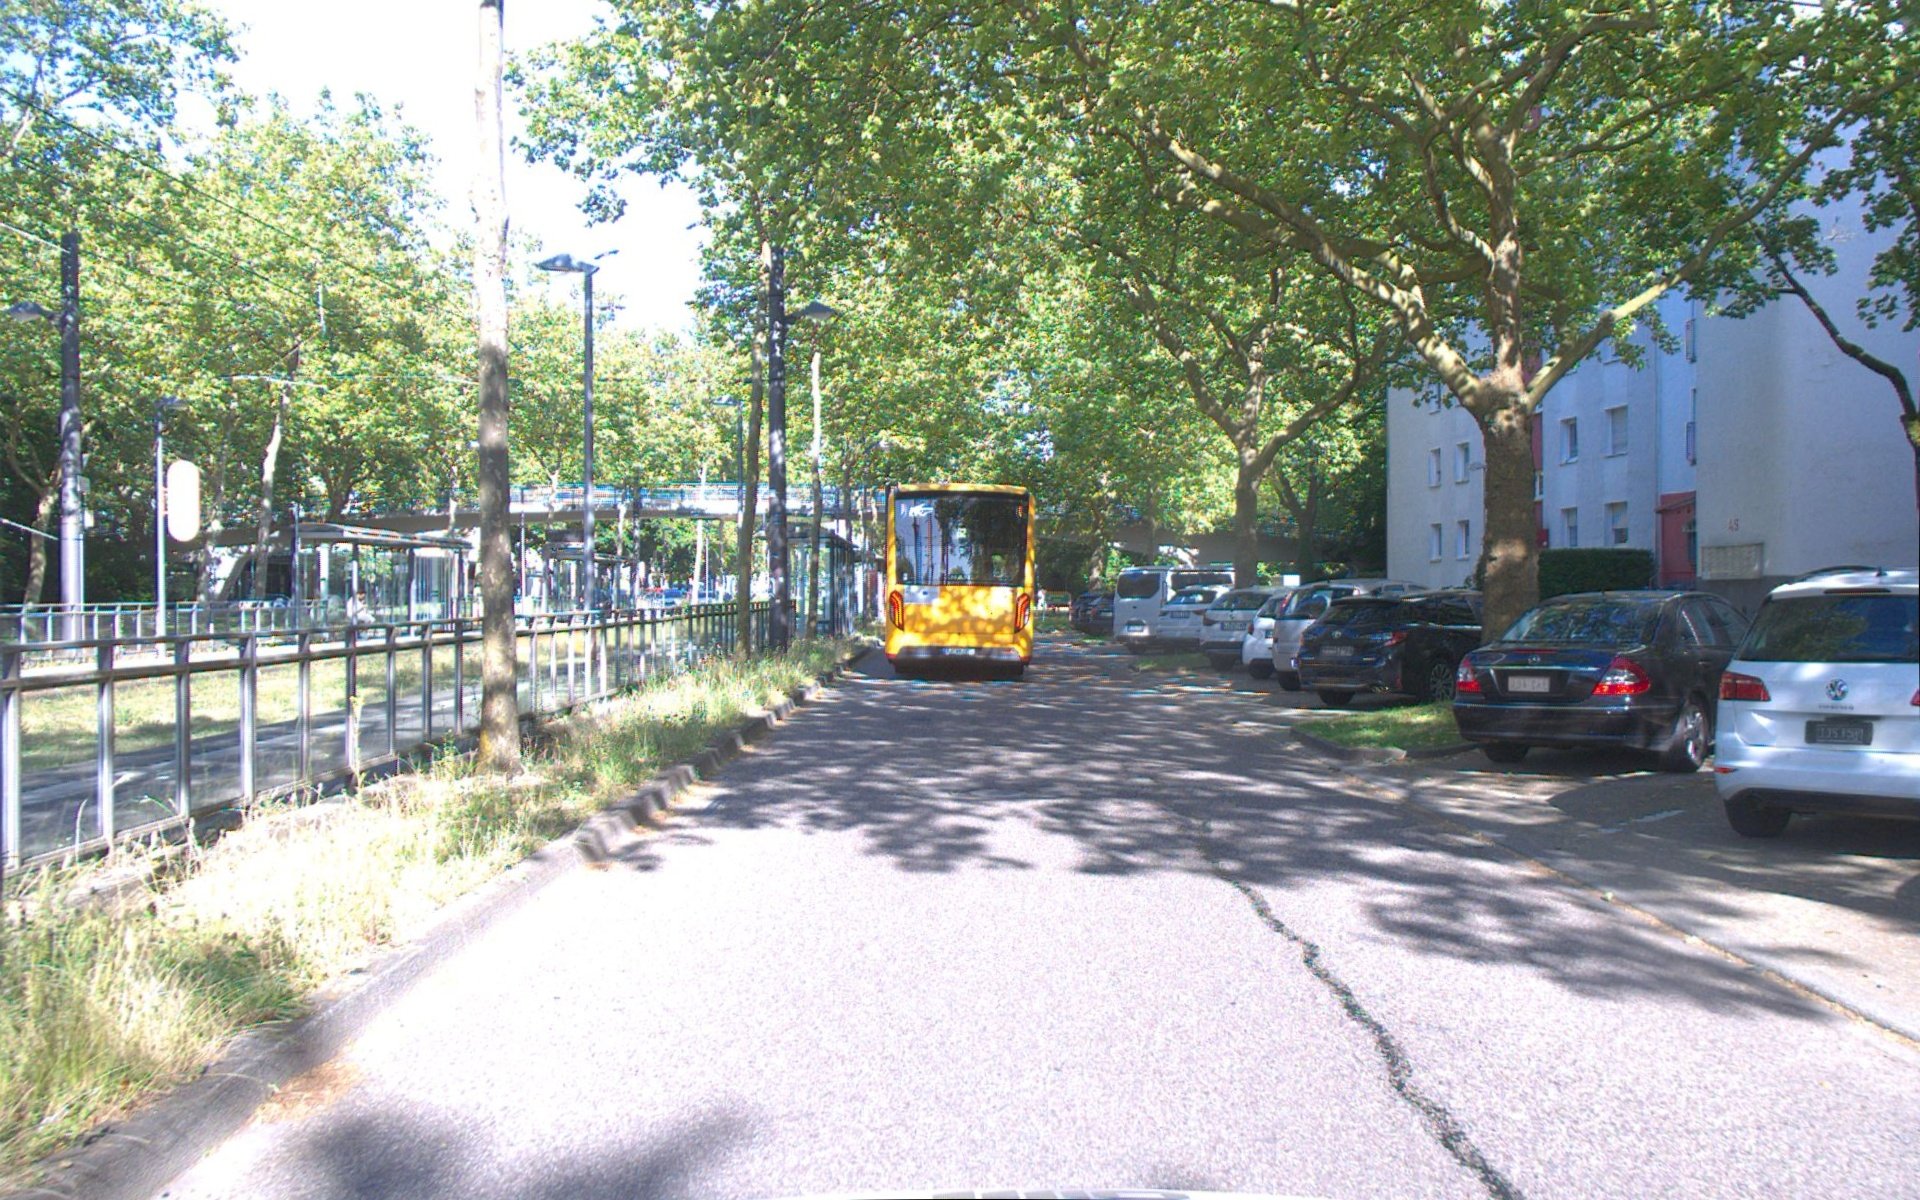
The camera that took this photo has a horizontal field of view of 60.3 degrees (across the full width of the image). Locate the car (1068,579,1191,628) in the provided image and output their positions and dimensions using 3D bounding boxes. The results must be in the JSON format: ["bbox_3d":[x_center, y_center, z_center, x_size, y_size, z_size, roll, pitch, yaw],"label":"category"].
[{"bbox_3d":[5.854,0.124,56.833,4.219,1.487,1.773,-3,0,-41],"label":"car"}]

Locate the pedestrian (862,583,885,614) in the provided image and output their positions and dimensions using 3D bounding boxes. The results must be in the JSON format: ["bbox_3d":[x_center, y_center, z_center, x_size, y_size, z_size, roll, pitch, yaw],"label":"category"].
[{"bbox_3d":[-3.529,-0.058,67.300,0.837,1.264,0.850,1,0,1],"label":"pedestrian"}]

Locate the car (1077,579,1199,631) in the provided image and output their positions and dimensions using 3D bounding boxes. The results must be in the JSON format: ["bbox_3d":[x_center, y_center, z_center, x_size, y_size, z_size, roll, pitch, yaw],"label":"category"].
[{"bbox_3d":[5.811,0.148,53.756,3.969,1.493,1.754,-3,0,-44],"label":"car"}]

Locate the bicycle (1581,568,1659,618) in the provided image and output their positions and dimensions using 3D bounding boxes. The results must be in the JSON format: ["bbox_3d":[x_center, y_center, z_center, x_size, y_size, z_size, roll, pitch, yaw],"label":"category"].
[{"bbox_3d":[16.673,-0.181,41.811,1.760,1.149,0.499,-3,0,-6],"label":"bicycle"}]

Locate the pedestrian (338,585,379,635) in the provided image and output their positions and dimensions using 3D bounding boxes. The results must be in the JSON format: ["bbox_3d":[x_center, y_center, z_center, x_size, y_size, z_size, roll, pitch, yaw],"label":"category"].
[{"bbox_3d":[-14.903,0.242,40.991,0.750,1.204,0.763,0,0,0],"label":"pedestrian"}]

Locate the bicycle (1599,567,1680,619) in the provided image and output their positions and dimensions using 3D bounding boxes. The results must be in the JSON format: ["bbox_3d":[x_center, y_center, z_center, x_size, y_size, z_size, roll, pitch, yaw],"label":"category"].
[{"bbox_3d":[16.711,-0.173,40.677,1.760,1.149,0.549,-3,0,-6],"label":"bicycle"}]

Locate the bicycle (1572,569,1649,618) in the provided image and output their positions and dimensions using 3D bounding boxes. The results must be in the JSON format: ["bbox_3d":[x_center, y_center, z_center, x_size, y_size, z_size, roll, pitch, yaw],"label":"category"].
[{"bbox_3d":[16.681,-0.170,42.399,1.760,1.149,0.499,-3,0,-6],"label":"bicycle"}]

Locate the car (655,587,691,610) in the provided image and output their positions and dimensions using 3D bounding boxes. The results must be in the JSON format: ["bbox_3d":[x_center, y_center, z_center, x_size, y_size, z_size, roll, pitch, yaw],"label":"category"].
[{"bbox_3d":[-20.219,-0.114,116.682,1.757,1.608,4.288,0,0,0],"label":"car"}]

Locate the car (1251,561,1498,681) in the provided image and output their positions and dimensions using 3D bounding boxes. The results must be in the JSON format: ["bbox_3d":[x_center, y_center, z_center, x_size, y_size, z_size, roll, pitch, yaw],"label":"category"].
[{"bbox_3d":[6.387,0.282,25.272,3.969,1.617,1.771,-3,0,-44],"label":"car"}]

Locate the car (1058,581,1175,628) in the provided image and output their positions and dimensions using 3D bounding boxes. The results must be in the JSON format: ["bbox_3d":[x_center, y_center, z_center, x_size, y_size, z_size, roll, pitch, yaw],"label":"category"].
[{"bbox_3d":[5.701,0.151,59.922,4.219,1.487,1.773,-3,0,-41],"label":"car"}]

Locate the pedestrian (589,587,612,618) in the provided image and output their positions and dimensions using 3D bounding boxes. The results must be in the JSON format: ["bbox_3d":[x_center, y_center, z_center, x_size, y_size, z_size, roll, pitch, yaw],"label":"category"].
[{"bbox_3d":[-14.423,0.099,66.326,0.762,1.259,0.722,0,0,-2],"label":"pedestrian"}]

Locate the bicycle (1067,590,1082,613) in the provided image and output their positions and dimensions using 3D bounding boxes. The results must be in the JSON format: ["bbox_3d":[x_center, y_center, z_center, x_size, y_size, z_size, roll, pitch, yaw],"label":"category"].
[{"bbox_3d":[6.165,0.071,89.044,0.578,1.203,1.800,-3,1,-1],"label":"bicycle"}]

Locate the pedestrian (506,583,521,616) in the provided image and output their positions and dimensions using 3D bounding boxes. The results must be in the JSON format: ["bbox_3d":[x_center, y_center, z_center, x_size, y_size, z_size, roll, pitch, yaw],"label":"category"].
[{"bbox_3d":[-22.906,-0.049,84.800,0.635,1.690,0.649,0,0,-5],"label":"pedestrian"}]

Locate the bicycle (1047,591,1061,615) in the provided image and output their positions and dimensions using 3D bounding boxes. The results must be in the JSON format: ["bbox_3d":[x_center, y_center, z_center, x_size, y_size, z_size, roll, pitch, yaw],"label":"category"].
[{"bbox_3d":[5.055,0.148,89.235,0.578,1.203,1.800,-3,1,-1],"label":"bicycle"}]

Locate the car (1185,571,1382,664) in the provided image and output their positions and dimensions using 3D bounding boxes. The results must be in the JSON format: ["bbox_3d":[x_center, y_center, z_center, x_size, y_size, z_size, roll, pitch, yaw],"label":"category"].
[{"bbox_3d":[6.187,0.306,31.353,1.768,1.536,4.188,-2,0,42],"label":"car"}]

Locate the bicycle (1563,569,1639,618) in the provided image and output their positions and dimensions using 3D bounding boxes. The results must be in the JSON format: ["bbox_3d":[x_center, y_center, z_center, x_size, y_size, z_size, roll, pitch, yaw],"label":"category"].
[{"bbox_3d":[16.631,-0.169,42.951,1.760,1.149,0.499,-3,0,-6],"label":"bicycle"}]

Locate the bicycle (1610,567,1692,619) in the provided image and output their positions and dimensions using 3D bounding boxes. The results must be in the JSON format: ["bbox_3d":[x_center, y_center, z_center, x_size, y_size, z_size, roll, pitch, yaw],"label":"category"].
[{"bbox_3d":[16.747,-0.162,40.086,1.760,1.149,0.499,-3,0,-6],"label":"bicycle"}]

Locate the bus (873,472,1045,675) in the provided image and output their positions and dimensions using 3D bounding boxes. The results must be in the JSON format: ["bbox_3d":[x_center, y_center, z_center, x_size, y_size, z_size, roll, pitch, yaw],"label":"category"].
[{"bbox_3d":[-0.160,-0.469,33.301,2.841,3.324,12.214,0,0,-1],"label":"bus"}]

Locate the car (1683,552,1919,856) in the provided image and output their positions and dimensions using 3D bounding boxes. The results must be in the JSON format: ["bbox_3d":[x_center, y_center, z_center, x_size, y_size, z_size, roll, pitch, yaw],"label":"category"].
[{"bbox_3d":[6.295,0.494,10.301,3.965,1.603,1.773,-2,1,-41],"label":"car"}]

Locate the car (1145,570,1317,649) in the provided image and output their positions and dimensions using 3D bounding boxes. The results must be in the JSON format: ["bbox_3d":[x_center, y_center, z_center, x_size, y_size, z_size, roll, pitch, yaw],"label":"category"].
[{"bbox_3d":[6.237,0.193,37.790,4.027,1.607,1.803,-3,0,-44],"label":"car"}]

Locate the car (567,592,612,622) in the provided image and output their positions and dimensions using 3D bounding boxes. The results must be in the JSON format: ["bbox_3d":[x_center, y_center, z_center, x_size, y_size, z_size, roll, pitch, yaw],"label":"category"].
[{"bbox_3d":[-20.345,0.352,90.905,1.759,1.593,4.285,0,0,-4],"label":"car"}]

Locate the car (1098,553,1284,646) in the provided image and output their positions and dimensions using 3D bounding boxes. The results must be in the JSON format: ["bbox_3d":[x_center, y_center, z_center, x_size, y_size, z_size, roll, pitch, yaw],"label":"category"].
[{"bbox_3d":[5.719,-0.036,40.678,4.549,2.088,1.987,-3,0,-41],"label":"car"}]

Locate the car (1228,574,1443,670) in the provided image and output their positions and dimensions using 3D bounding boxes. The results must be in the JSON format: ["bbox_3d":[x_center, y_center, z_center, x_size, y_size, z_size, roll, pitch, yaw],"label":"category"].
[{"bbox_3d":[6.502,0.350,28.423,1.801,1.444,3.973,-2,0,44],"label":"car"}]

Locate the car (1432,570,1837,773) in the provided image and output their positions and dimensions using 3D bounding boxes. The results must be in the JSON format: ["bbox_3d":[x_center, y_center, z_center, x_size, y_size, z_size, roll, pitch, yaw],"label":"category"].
[{"bbox_3d":[6.122,0.518,14.706,1.769,1.447,4.559,-1,1,44],"label":"car"}]

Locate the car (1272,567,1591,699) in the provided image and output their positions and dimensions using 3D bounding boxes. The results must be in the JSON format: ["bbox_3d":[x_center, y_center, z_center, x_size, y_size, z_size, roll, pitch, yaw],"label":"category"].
[{"bbox_3d":[6.272,0.386,21.793,4.368,1.453,1.923,-3,0,-40],"label":"car"}]
